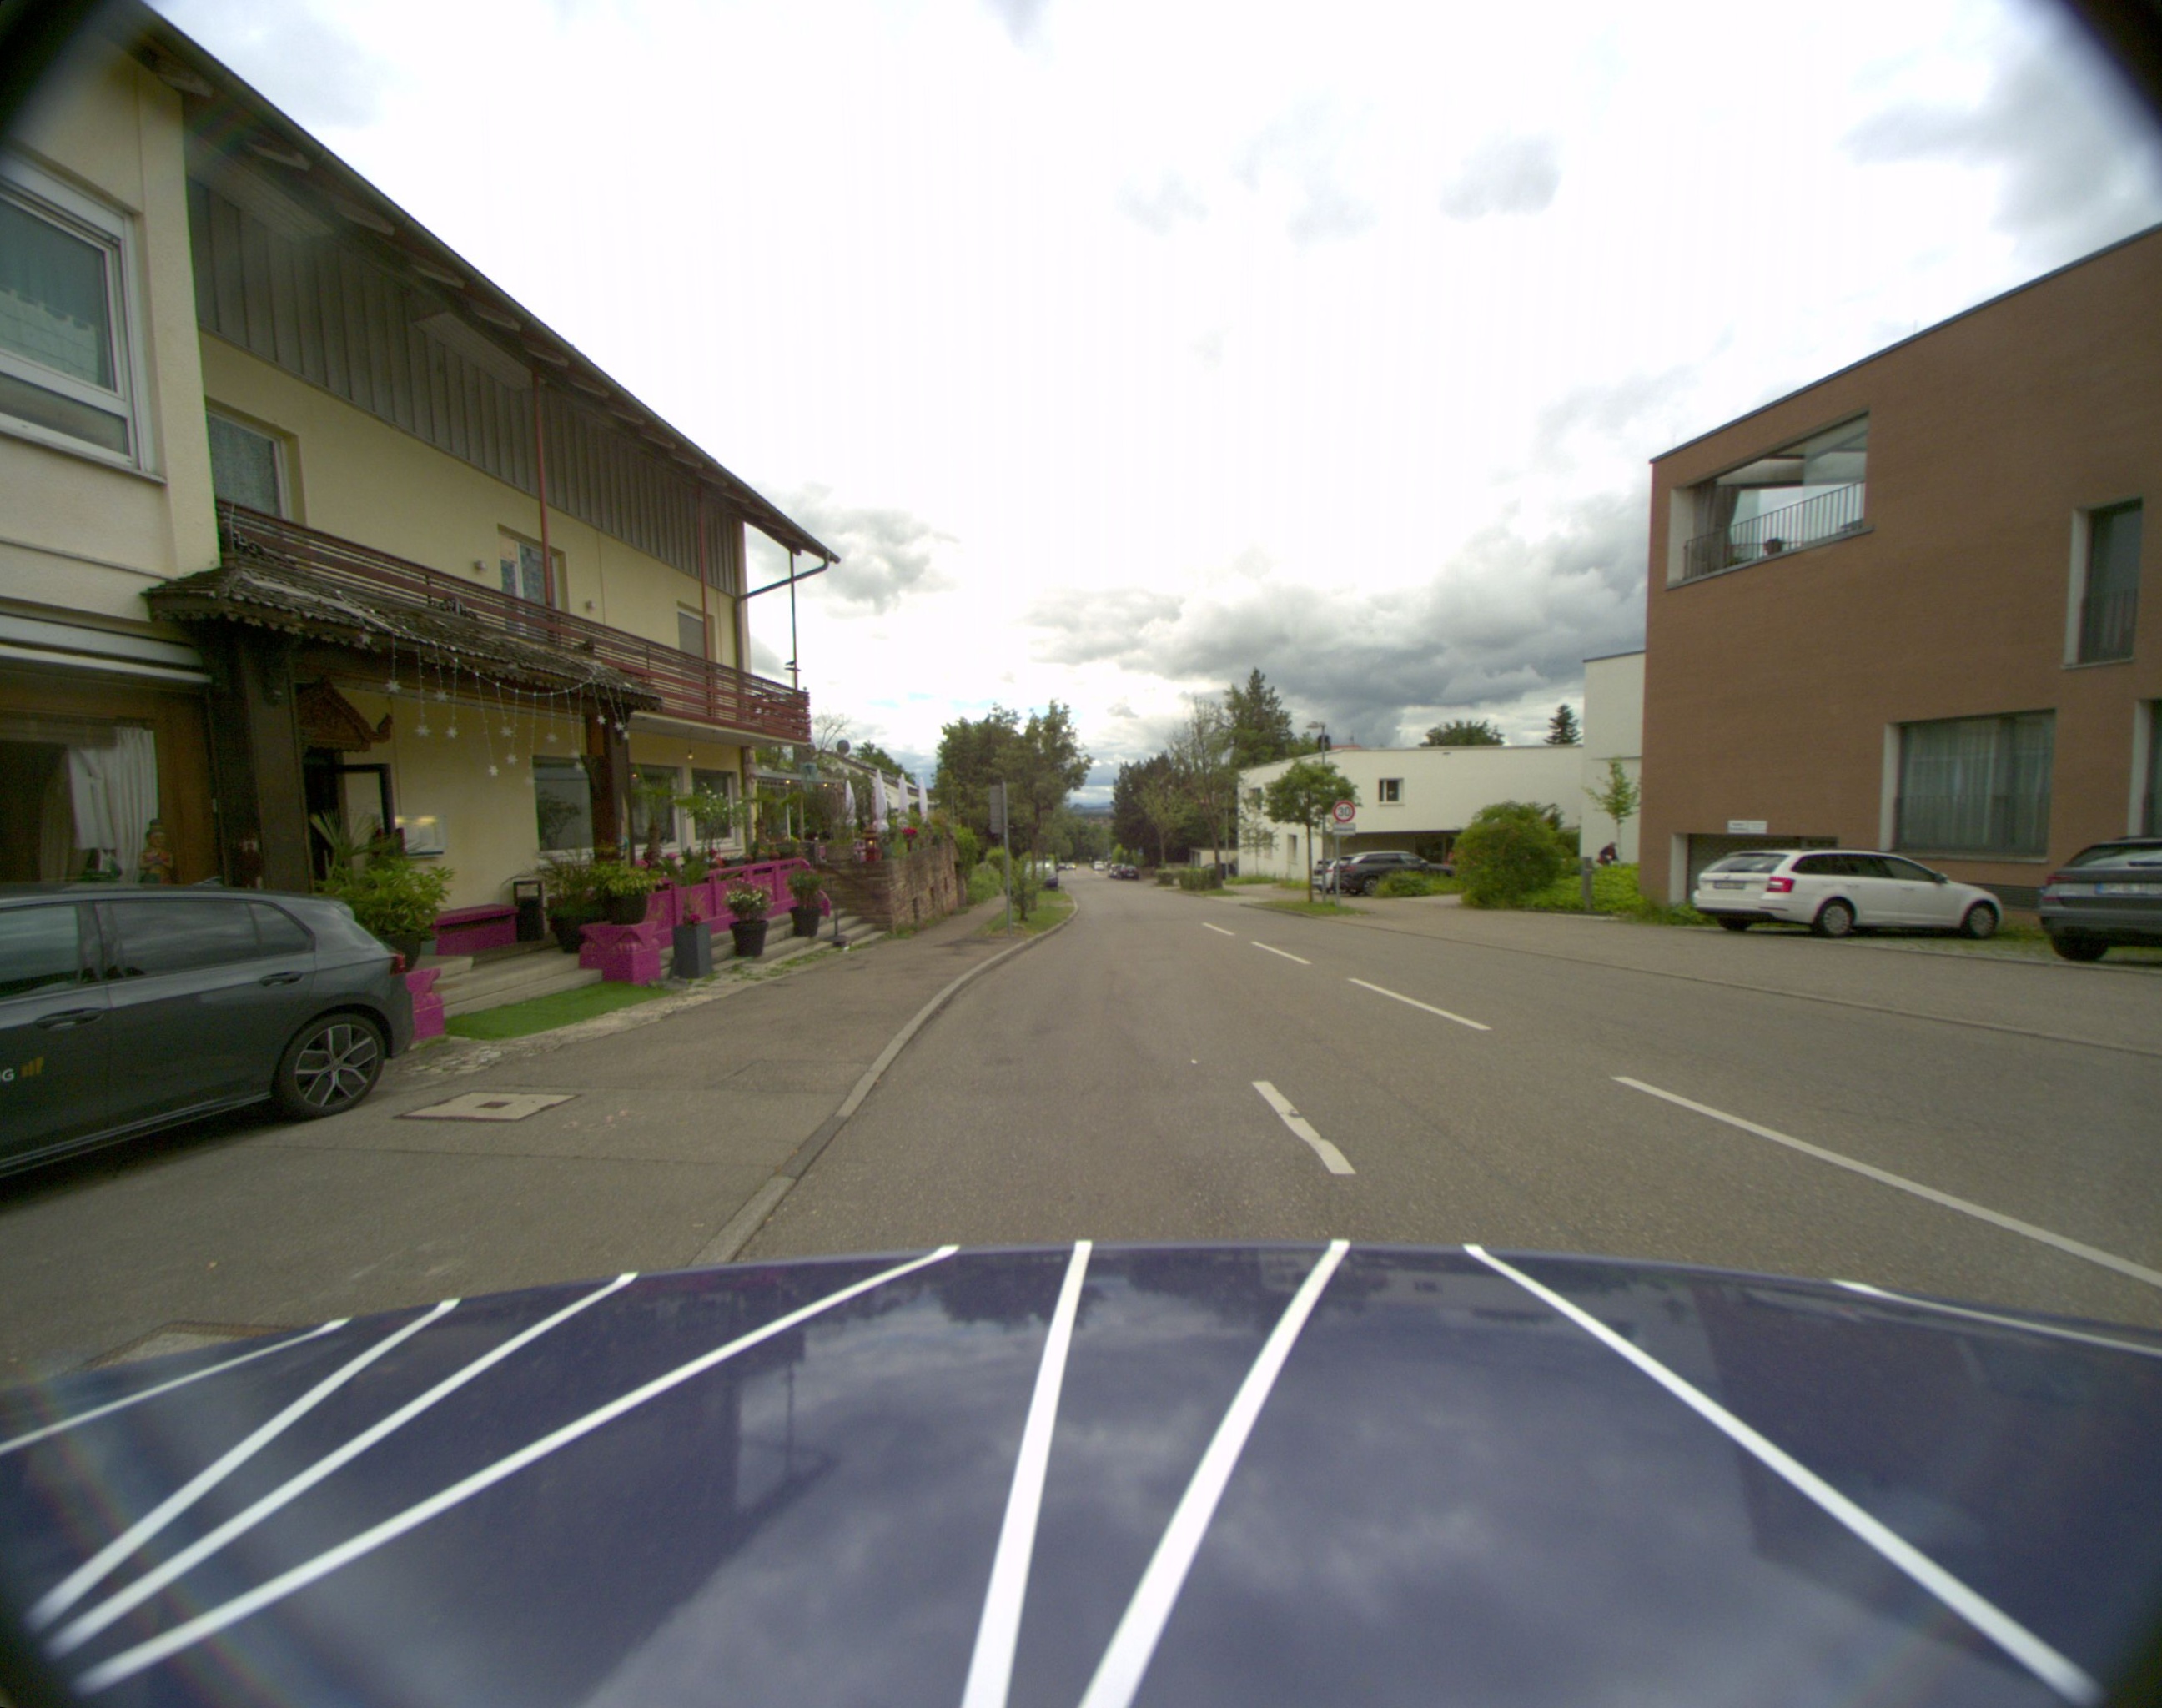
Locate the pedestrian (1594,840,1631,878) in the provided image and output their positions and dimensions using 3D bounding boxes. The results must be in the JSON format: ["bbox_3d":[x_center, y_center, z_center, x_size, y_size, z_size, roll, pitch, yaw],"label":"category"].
[{"bbox_3d":[18.637,0.186,26.657,0.608,1.275,0.899,-3,0,-3],"label":"pedestrian"}]

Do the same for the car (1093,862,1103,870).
[{"bbox_3d":[2.925,2.049,129.377,1.694,1.411,3.580,1,-1,1],"label":"car"}]

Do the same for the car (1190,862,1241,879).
[{"bbox_3d":[11.179,1.388,63.339,3.806,1.346,1.740,-1,0,-8],"label":"car"}]

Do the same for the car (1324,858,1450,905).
[{"bbox_3d":[11.668,1.032,29.184,3.998,1.644,2.008,-2,0,-2],"label":"car"}]

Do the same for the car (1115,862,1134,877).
[{"bbox_3d":[4.594,1.632,80.999,1.628,1.510,2.974,-2,0,-4],"label":"car"}]

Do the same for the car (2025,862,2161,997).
[{"bbox_3d":[13.503,0.824,8.685,3.772,1.455,1.731,0,-1,-9],"label":"car"}]

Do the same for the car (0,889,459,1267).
[{"bbox_3d":[-5.496,1.002,3.326,1.853,1.464,4.386,1,0,2],"label":"car"}]

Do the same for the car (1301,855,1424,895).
[{"bbox_3d":[11.775,0.862,31.968,4.399,1.557,2.066,-1,0,-4],"label":"car"}]

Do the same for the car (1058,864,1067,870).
[{"bbox_3d":[-4.347,2.981,175.776,1.998,1.221,4.000,-1,0,0],"label":"car"}]

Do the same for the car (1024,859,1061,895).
[{"bbox_3d":[-2.147,1.238,42.591,1.941,1.827,5.218,-1,0,-3],"label":"car"}]

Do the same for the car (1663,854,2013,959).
[{"bbox_3d":[12.906,0.824,13.141,4.273,1.614,2.012,0,1,-6],"label":"car"}]

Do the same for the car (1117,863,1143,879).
[{"bbox_3d":[4.637,1.646,72.838,1.856,1.461,4.681,-1,-1,-4],"label":"car"}]
